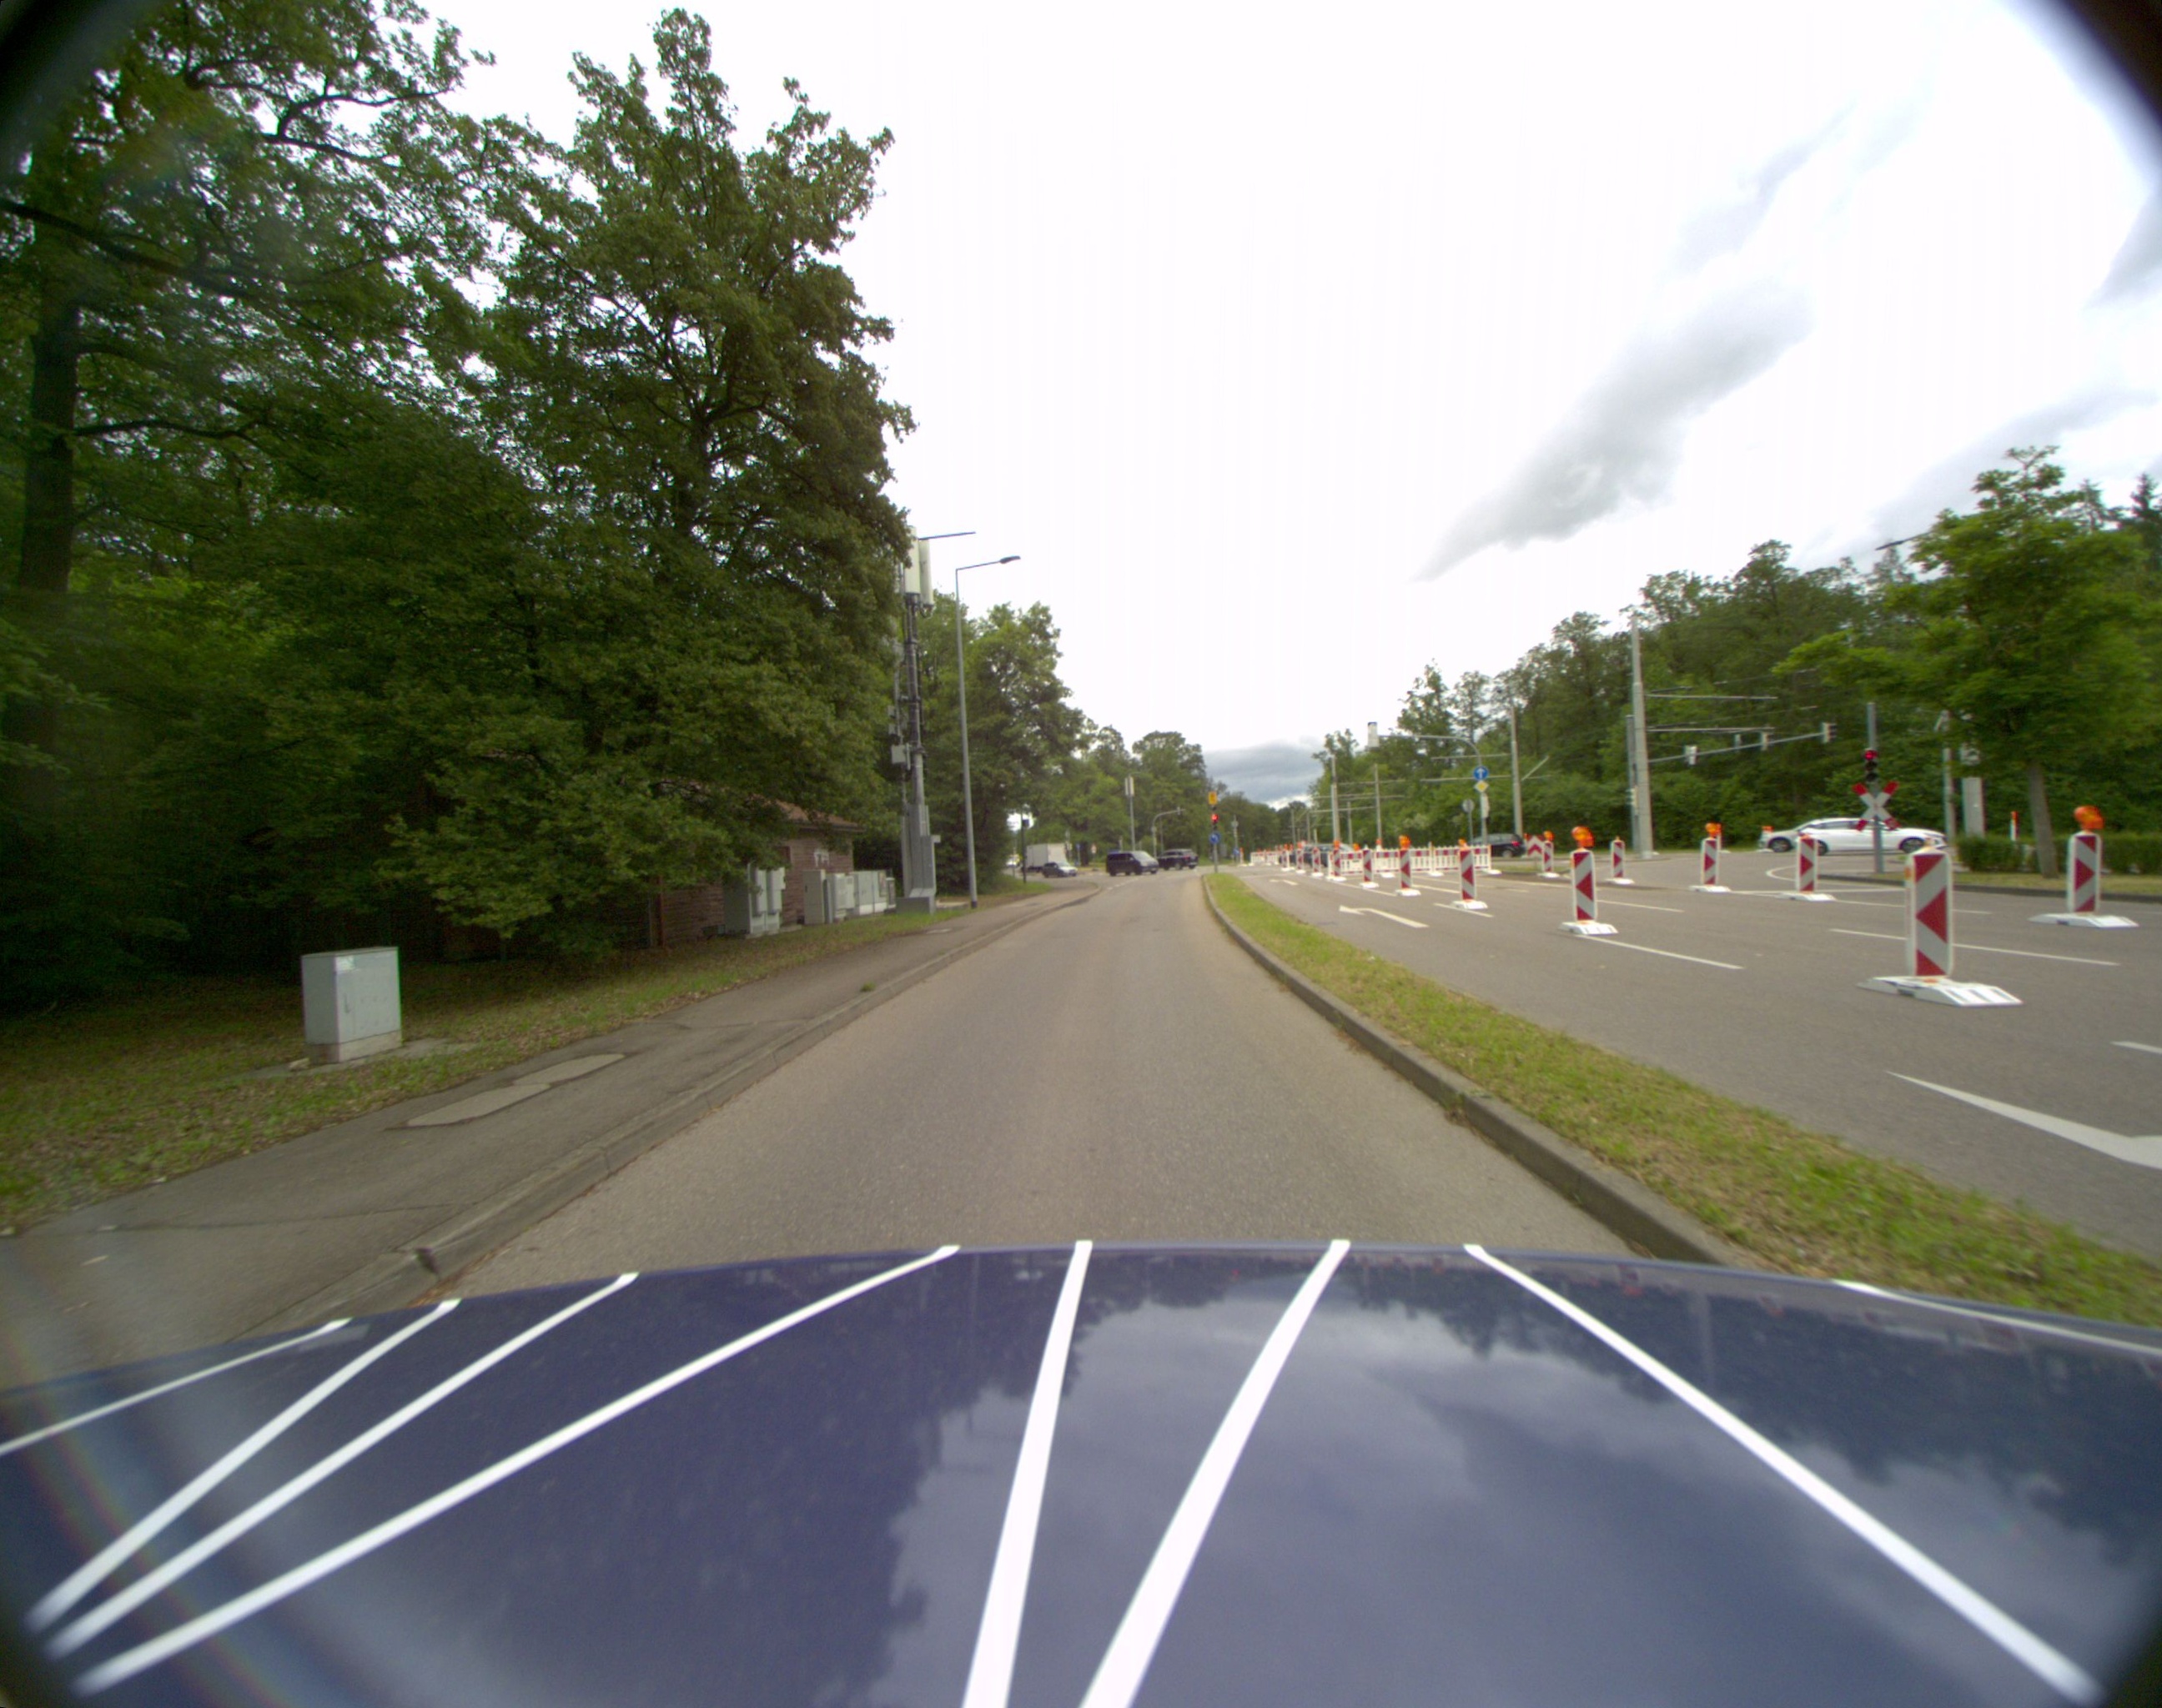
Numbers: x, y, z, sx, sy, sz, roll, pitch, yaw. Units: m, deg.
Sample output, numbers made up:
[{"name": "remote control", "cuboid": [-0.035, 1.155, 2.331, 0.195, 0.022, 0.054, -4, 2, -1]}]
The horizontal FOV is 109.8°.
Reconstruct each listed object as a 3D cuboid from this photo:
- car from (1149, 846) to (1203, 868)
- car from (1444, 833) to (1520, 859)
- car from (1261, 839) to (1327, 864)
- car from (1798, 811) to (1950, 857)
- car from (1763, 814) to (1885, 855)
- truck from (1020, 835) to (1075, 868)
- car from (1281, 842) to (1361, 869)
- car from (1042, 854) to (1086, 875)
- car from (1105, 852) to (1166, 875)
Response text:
[{"name": "car", "cuboid": [8.396, 0.283, 67.477, 2.003, 1.718, 4.461, -4, 1, -39]}, {"name": "car", "cuboid": [25.399, -0.493, 48.175, 1.666, 1.330, 3.832, -9, 3, -39]}, {"name": "car", "cuboid": [16.322, -0.161, 58.417, 4.439, 1.586, 1.884, -3, 1, 43]}, {"name": "car", "cuboid": [31.070, -0.766, 29.908, 1.772, 1.479, 3.990, -5, 1, -44]}, {"name": "car", "cuboid": [35.601, -0.902, 36.495, 1.862, 1.642, 4.037, -5, 1, -42]}, {"name": "truck", "cuboid": [-3.740, -0.221, 83.165, 2.752, 3.192, 6.658, -4, 1, -33]}, {"name": "car", "cuboid": [15.020, 0.087, 47.664, 1.800, 1.428, 4.379, -5, 1, -42]}, {"name": "car", "cuboid": [-1.592, 0.973, 69.017, 1.901, 1.631, 3.973, -4, 1, -39]}, {"name": "car", "cuboid": [4.343, 0.759, 61.191, 1.961, 1.578, 4.897, -4, 1, -39]}]
